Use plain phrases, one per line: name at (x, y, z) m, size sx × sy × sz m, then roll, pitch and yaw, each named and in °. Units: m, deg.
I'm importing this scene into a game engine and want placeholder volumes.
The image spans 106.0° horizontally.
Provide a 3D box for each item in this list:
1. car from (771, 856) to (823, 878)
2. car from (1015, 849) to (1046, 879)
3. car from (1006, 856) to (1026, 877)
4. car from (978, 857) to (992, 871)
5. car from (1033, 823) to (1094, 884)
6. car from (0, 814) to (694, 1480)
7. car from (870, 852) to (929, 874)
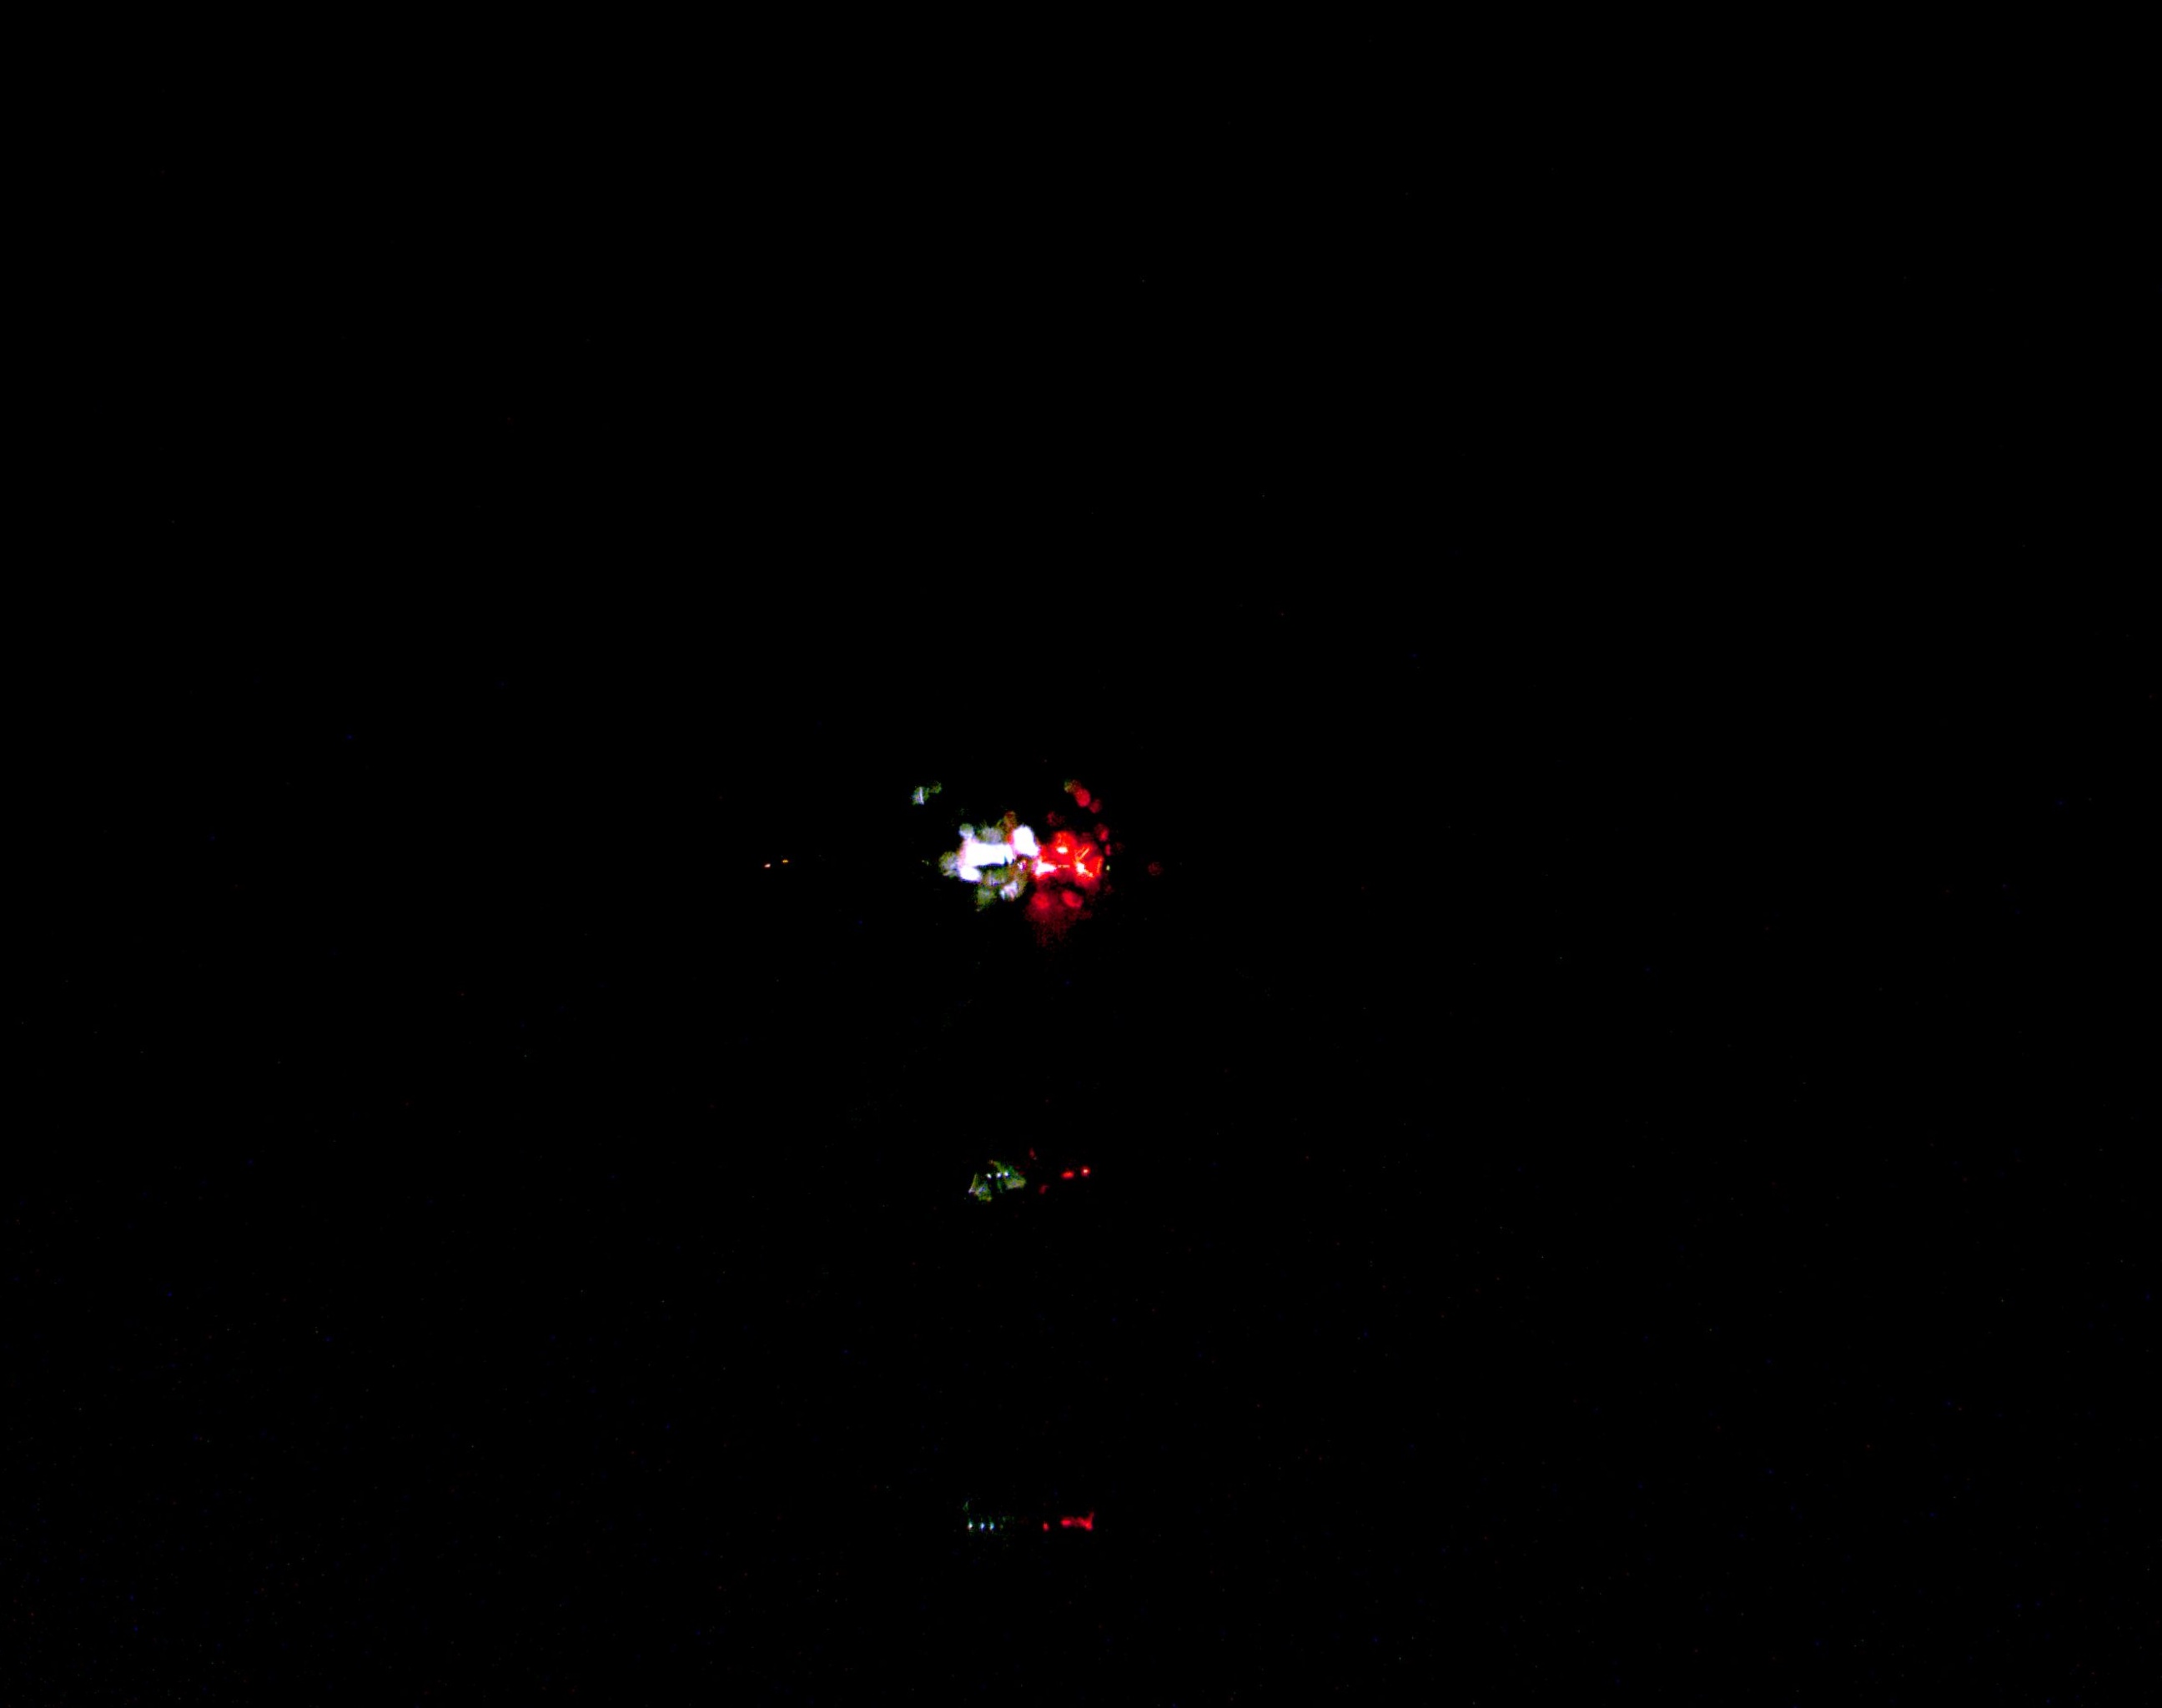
car at (-25.216, 1.138, 72.332) m, size 4.169 × 1.687 × 1.680 m, roll -2°, pitch -1°, yaw -24°
car at (-3.793, 0.801, 60.439) m, size 1.992 × 2.014 × 3.988 m, roll 2°, pitch -3°, yaw -8°
car at (-6.005, 1.196, 75.253) m, size 1.738 × 1.714 × 3.692 m, roll 1°, pitch -3°, yaw -5°
car at (-12.715, 1.348, 107.881) m, size 1.752 × 1.734 × 3.989 m, roll 2°, pitch 0°, yaw -8°
car at (-0.892, -0.017, 37.330) m, size 2.533 × 2.498 × 5.708 m, roll -1°, pitch 0°, yaw -3°
car at (-3.278, 0.684, 3.124) m, size 1.630 × 1.510 × 4.094 m, roll -1°, pitch 0°, yaw 0°
car at (-15.883, 0.776, 71.370) m, size 4.911 × 1.735 × 1.994 m, roll -1°, pitch 0°, yaw -10°
